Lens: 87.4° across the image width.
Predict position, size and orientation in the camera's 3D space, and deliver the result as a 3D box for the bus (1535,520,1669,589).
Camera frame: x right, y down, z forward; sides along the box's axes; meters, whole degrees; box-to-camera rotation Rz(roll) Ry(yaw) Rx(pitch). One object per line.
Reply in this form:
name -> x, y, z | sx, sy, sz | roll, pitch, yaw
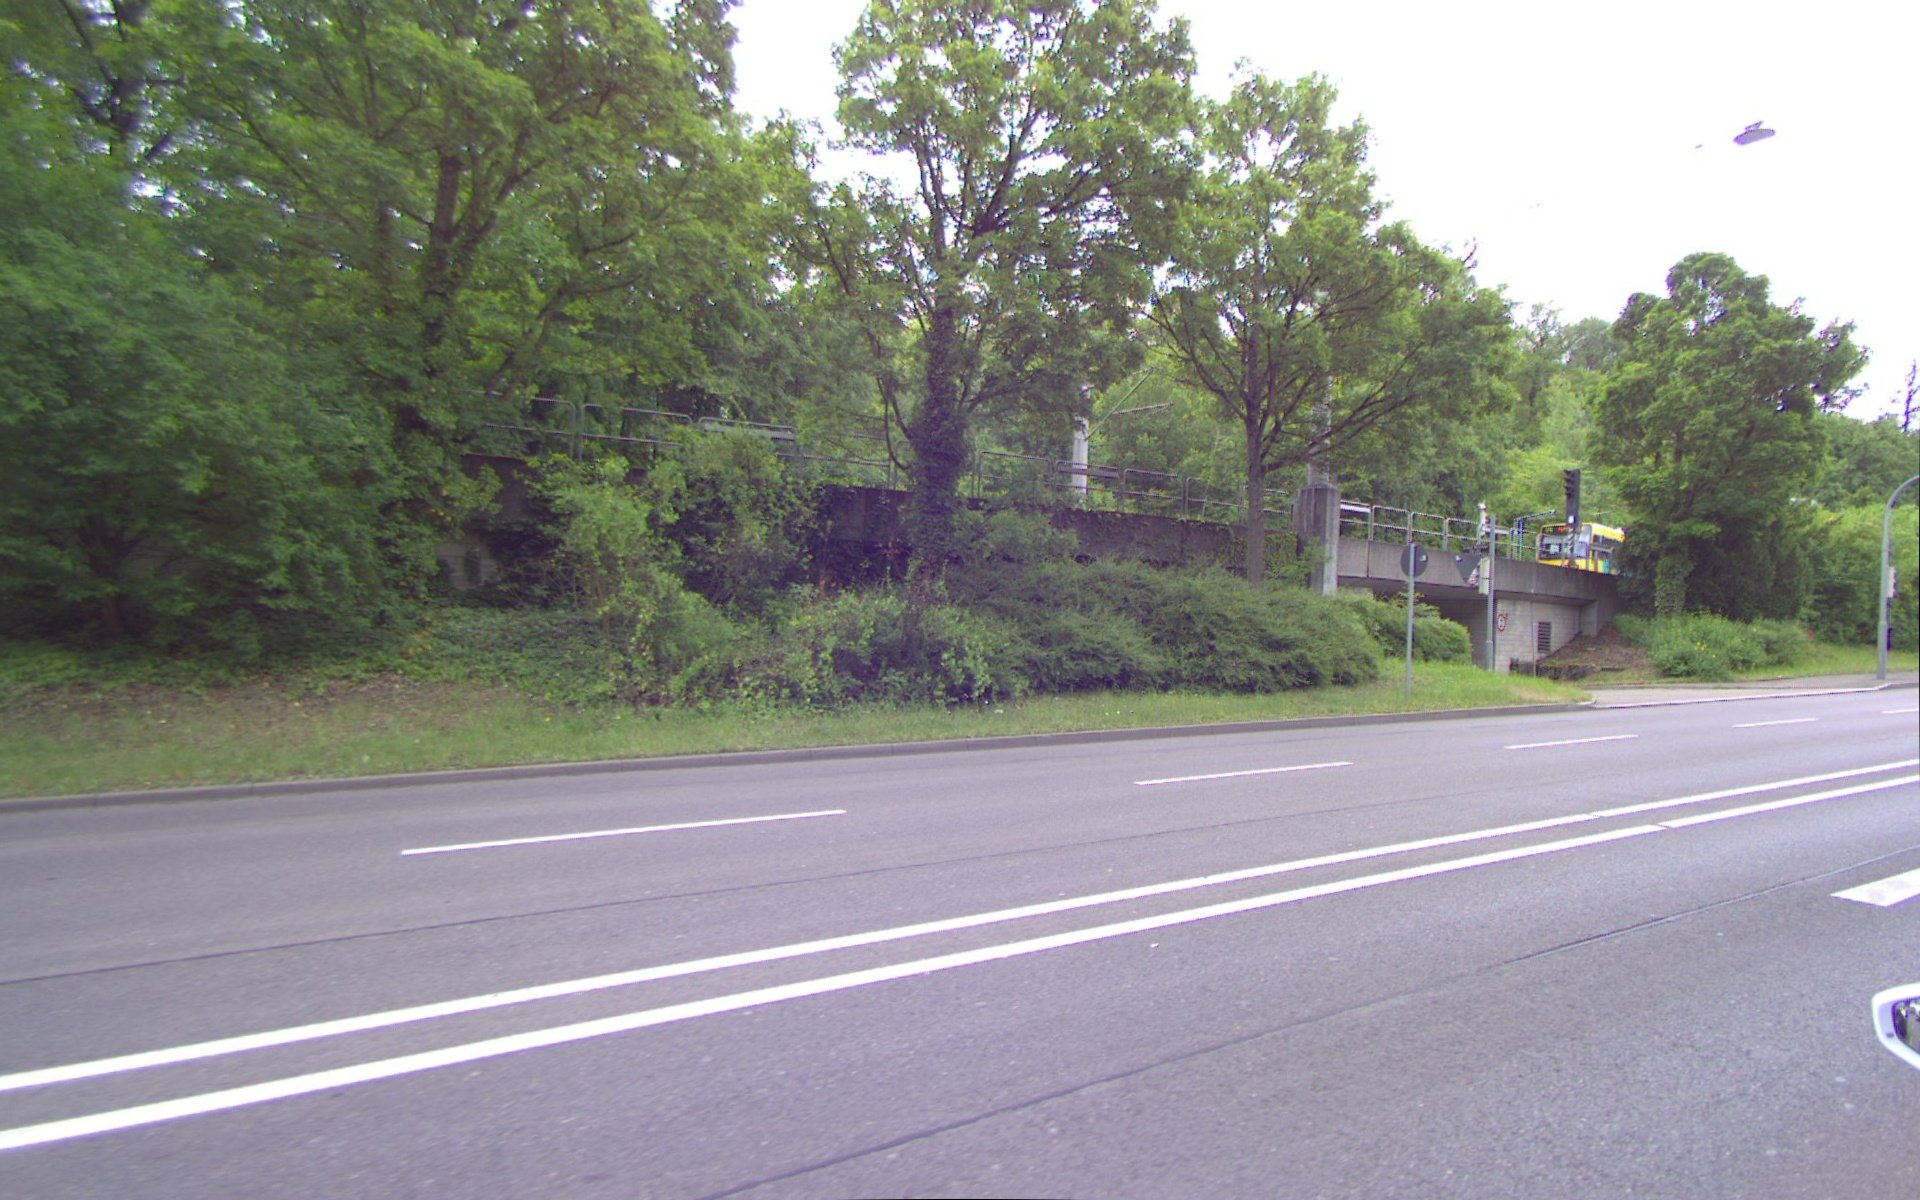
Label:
bus -> 32.465, -2.198, 50.707 | 7.853, 2.825, 2.528 | 3, -3, -31
